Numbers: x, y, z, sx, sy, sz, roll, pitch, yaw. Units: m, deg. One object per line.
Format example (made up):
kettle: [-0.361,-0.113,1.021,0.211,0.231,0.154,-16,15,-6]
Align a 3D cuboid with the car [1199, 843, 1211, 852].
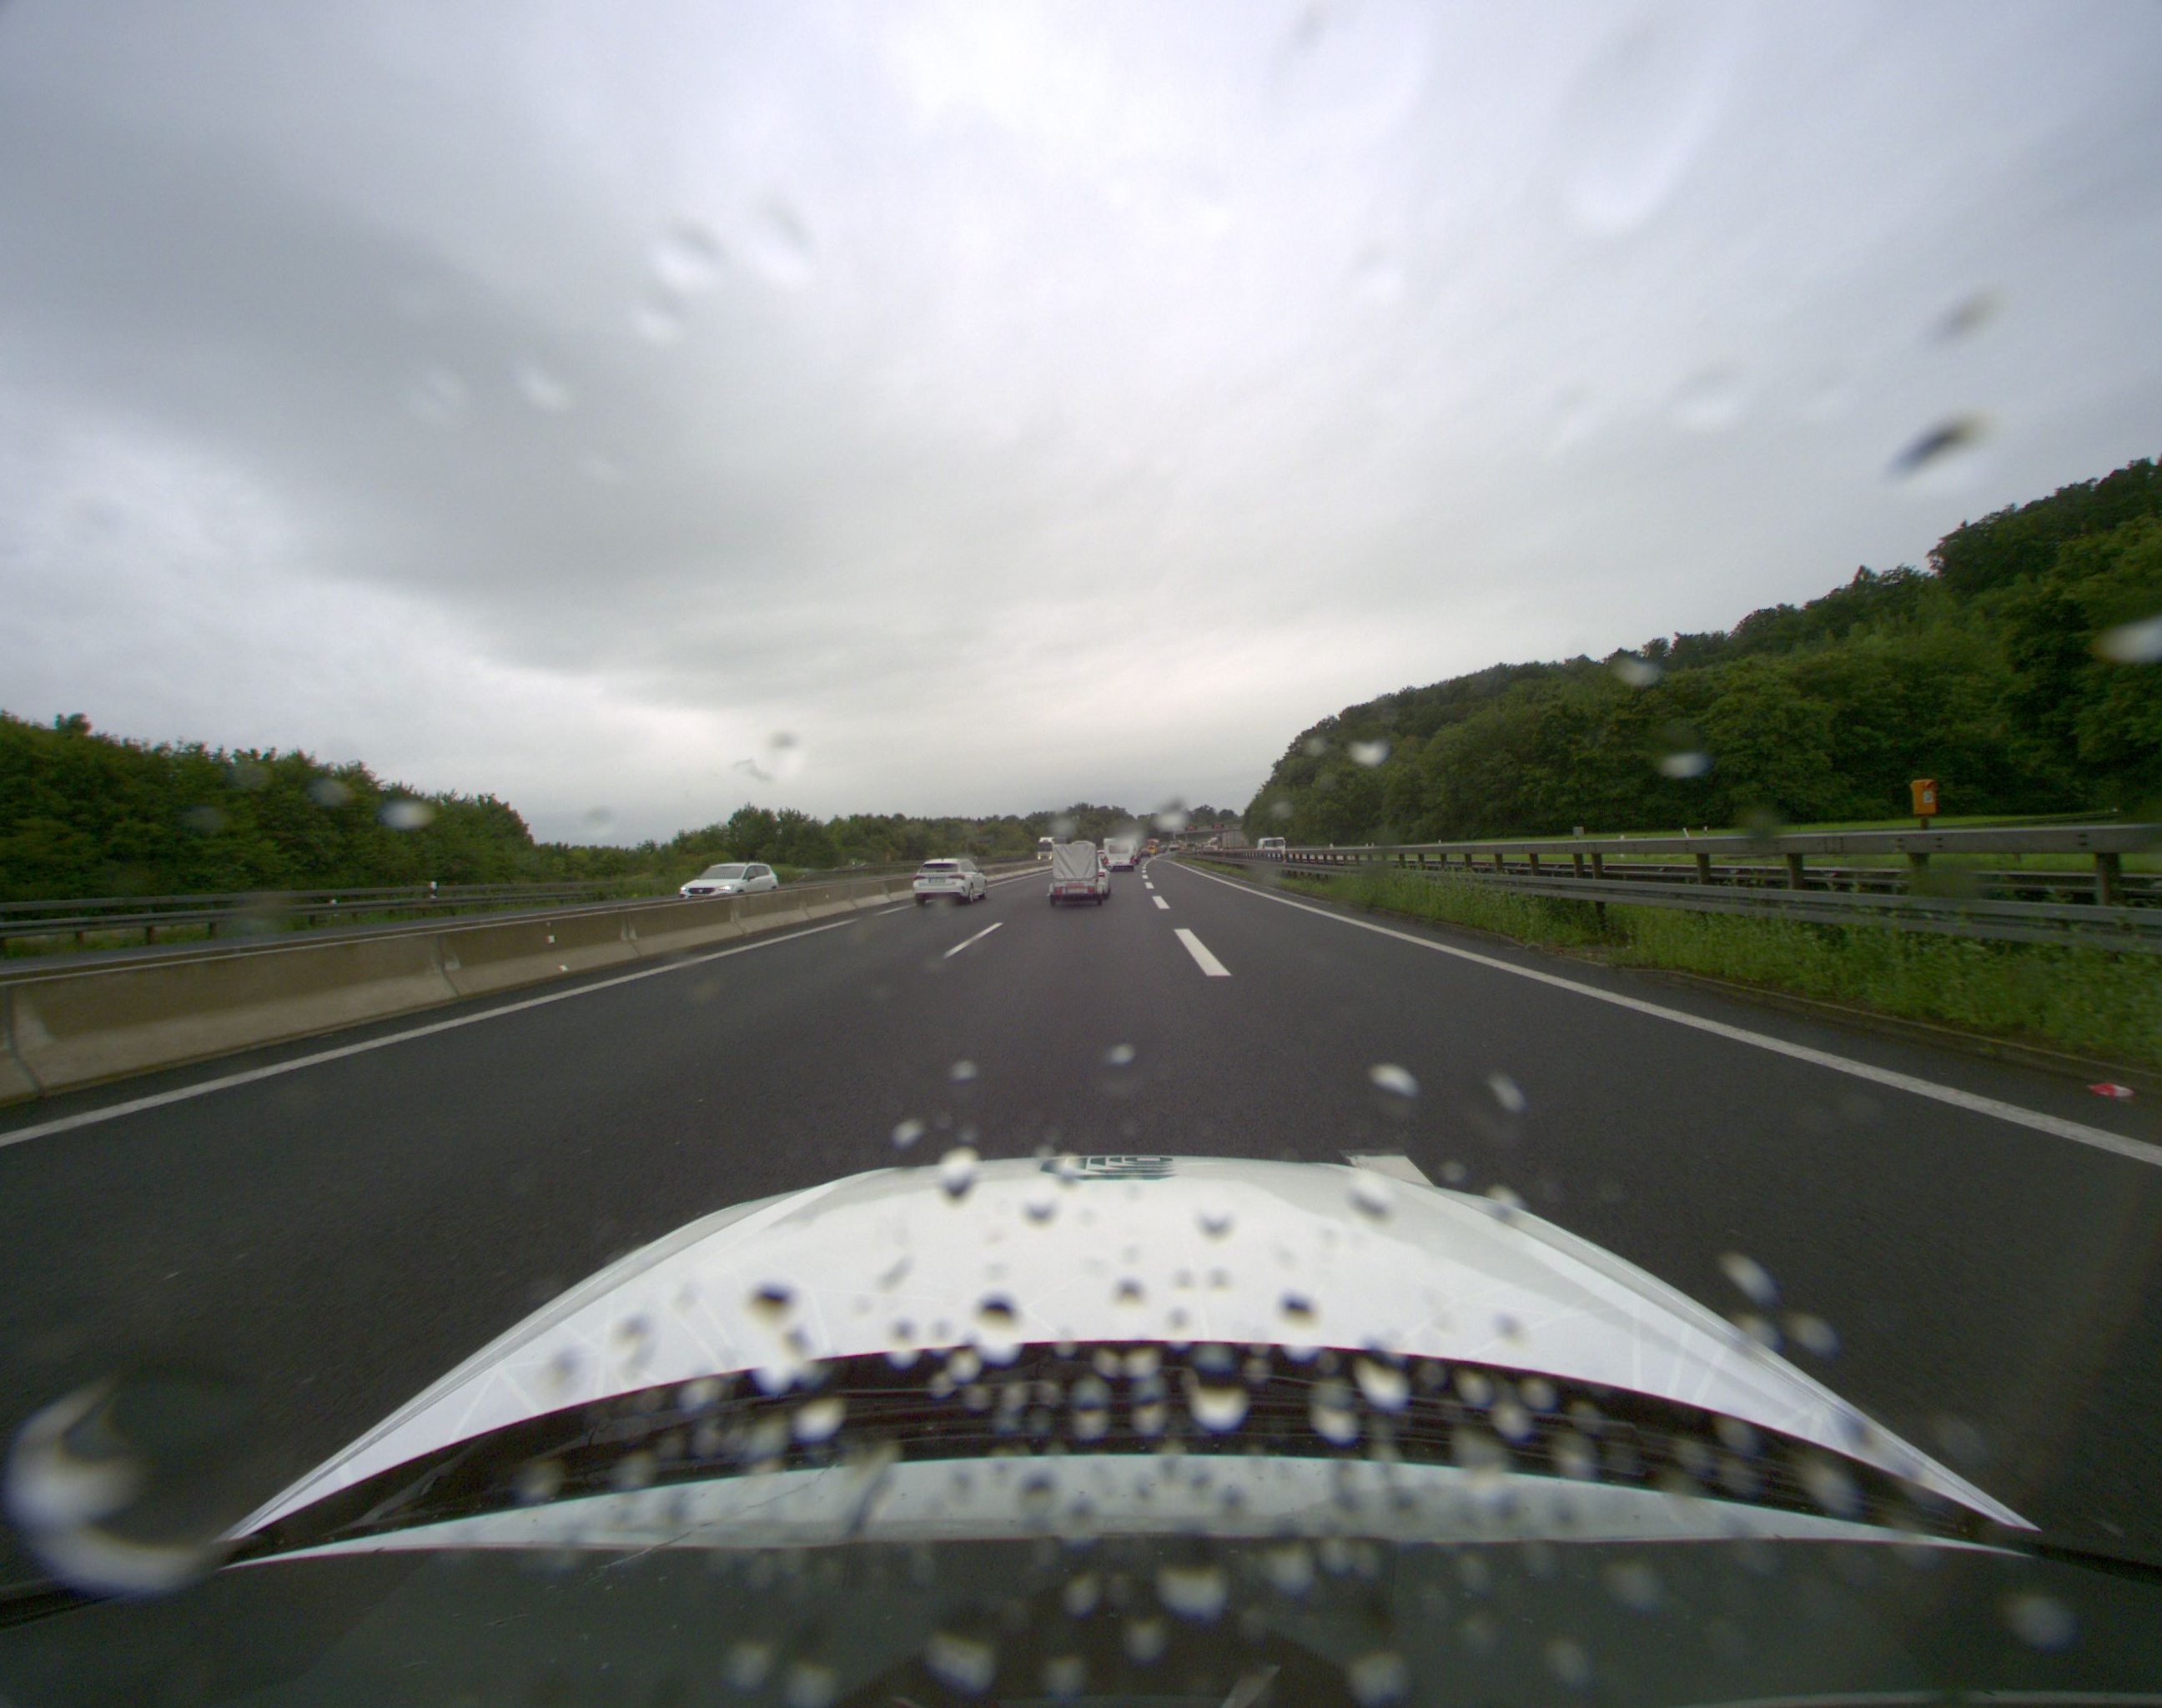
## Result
car: [20.103,-1.054,132.179,1.658,1.382,4.135,-4,0,7]

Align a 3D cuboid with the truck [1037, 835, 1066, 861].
truck: [-5.026,-0.980,141.175,2.772,4.092,12.323,-2,-1,7]

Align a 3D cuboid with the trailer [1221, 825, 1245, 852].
trailer: [24.478,-2.413,131.792,2.592,3.894,12.507,-2,-1,5]

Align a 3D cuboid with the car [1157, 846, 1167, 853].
car: [19.705,-1.035,198.573,2.025,1.683,4.012,-2,-1,10]

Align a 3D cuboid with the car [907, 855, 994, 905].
car: [-4.251,0.822,27.313,1.811,1.456,4.782,-2,-1,3]

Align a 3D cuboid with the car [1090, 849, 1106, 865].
car: [2.178,0.413,106.241,1.986,1.919,4.001,-2,-1,1]

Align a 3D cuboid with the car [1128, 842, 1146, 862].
car: [6.213,-0.180,90.657,1.667,2.067,4.008,-2,-1,7]

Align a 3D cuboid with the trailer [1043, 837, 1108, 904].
trailer: [-0.096,0.482,25.023,1.669,1.812,4.003,-2,-1,3]

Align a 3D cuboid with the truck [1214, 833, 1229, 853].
truck: [34.401,-2.549,199.463,3.197,4.666,13.064,-2,-1,9]

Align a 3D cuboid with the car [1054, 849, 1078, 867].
car: [-1.276,0.368,70.483,1.669,1.456,4.003,-2,-1,3]

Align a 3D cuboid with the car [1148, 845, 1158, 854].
car: [15.524,-0.943,174.800,1.665,1.812,4.011,-2,-1,10]

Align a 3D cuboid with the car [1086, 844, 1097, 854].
car: [2.133,-1.008,165.419,1.729,1.919,4.324,-2,-1,6]

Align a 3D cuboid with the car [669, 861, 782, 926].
car: [-11.785,1.242,27.335,1.731,1.919,4.318,-2,-1,2]

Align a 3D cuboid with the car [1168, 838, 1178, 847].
car: [26.896,-3.351,237.047,2.500,2.574,5.326,-2,-1,10]

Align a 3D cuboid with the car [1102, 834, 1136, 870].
car: [3.052,-0.125,64.476,2.497,2.585,5.704,-2,-1,3]

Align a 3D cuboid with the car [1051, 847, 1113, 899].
car: [0.123,0.625,28.333,1.810,1.616,4.782,-2,-1,4]

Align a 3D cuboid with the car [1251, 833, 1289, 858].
car: [14.067,-0.600,60.892,1.901,1.693,4.722,-2,-1,3]

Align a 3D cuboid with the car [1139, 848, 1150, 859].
car: [11.325,-0.049,144.678,1.666,1.812,4.009,-2,-1,8]
